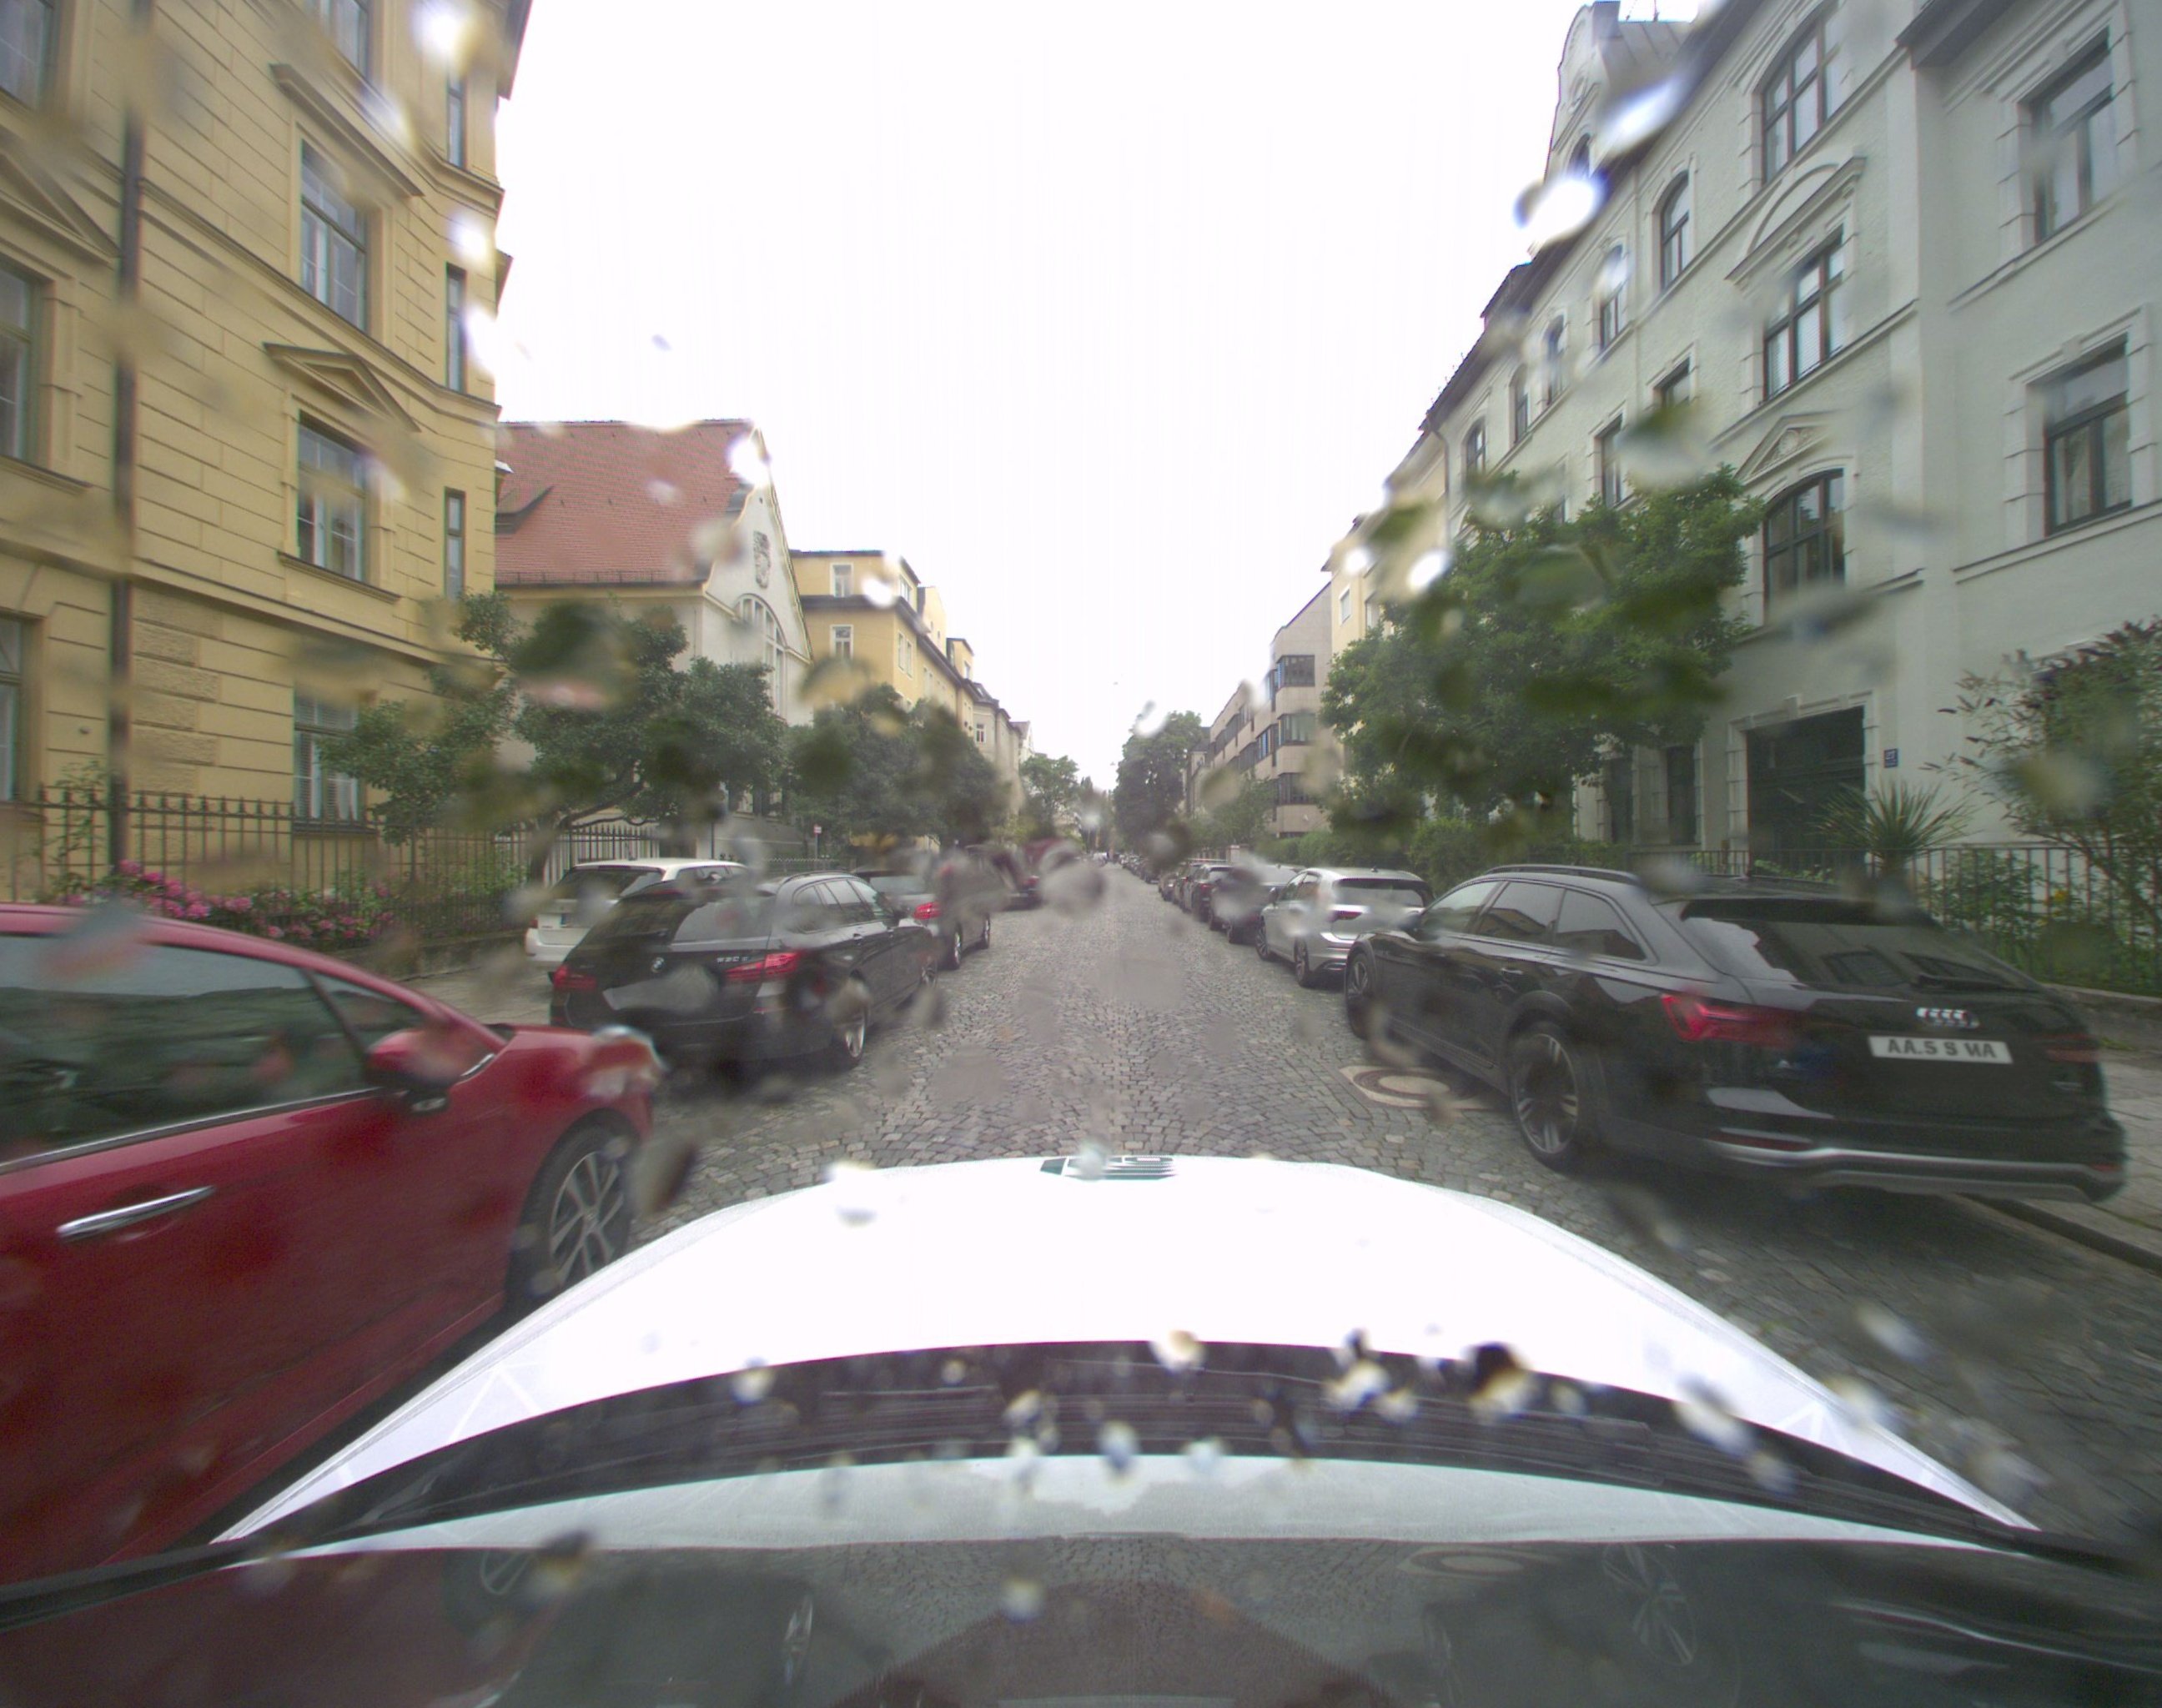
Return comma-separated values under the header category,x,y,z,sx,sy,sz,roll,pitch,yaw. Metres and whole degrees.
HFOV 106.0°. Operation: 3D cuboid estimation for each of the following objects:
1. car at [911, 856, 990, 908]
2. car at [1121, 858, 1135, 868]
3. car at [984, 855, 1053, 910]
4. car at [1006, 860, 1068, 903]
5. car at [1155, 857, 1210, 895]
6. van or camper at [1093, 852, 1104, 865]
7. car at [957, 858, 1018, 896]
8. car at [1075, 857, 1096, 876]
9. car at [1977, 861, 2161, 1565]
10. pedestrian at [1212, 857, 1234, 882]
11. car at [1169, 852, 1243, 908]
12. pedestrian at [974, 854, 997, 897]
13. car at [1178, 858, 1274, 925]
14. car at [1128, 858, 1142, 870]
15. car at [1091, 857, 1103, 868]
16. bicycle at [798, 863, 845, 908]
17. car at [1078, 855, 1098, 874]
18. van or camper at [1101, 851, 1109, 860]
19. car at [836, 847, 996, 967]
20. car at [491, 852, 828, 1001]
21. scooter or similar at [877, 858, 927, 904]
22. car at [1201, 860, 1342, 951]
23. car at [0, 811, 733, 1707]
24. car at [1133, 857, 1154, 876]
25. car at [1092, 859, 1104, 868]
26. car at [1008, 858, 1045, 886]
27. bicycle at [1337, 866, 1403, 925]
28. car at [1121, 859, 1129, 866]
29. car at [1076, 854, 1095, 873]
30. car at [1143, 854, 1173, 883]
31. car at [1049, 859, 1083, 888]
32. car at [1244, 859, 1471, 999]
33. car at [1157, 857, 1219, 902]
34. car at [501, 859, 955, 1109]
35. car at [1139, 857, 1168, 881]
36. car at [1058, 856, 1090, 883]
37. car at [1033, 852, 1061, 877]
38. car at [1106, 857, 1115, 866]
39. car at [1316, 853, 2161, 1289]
category,x,y,z,sx,sy,sz,roll,pitch,yaw
car,-4.193,0.855,26.792,1.733,1.536,4.468,1,-1,1
car,7.408,1.407,128.593,1.867,1.503,4.511,2,0,0
car,-1.954,0.878,26.677,1.733,1.603,4.538,-2,-1,1
car,-1.634,1.017,31.837,1.807,1.455,4.916,-3,-1,3
car,4.521,0.955,36.951,1.986,1.552,5.017,2,0,2
van or camper,3.612,0.910,169.508,1.985,2.652,4.003,-3,-1,3
car,-3.818,0.914,33.946,1.768,1.417,4.565,1,0,3
car,0.423,1.223,80.374,1.859,1.735,4.402,-3,0,0
car,3.129,0.791,0.269,1.661,1.508,3.687,2,0,2
pedestrian,8.986,0.968,51.583,1.211,1.493,1.131,-3,-1,4
car,4.007,0.801,26.797,1.886,1.654,4.295,1,0,2
pedestrian,-3.685,0.838,31.573,0.762,1.650,0.583,0,-1,3
car,3.697,0.901,21.596,1.811,1.488,5.053,3,0,3
car,7.336,1.311,110.877,1.829,1.490,4.425,2,0,3
car,2.661,1.417,136.920,1.867,1.580,4.255,-3,0,0
bicycle,-7.532,0.884,23.717,0.603,1.259,2.061,0,-1,2
car,0.811,1.199,91.939,1.986,1.917,5.178,-4,-1,1
van or camper,7.425,0.440,254.174,2.247,2.742,5.100,1,0,2
car,-2.458,0.738,13.132,1.734,1.586,4.190,-1,-1,-1
car,-4.919,0.749,10.383,1.834,1.466,4.391,1,-1,2
scooter or similar,-6.185,0.893,28.299,1.058,1.523,2.636,0,0,2
car,3.642,0.908,16.458,1.875,1.488,4.817,2,0,3
car,-2.595,0.752,1.720,1.835,1.586,4.192,-1,-1,1
car,5.961,1.199,78.089,1.865,1.735,4.896,2,0,4
car,3.270,1.797,154.587,1.864,1.580,4.214,2,0,5
car,-3.254,1.049,49.144,1.708,1.497,4.723,2,0,2
bicycle,6.246,0.870,17.665,0.580,1.195,1.641,1,-1,-12
car,10.258,2.033,190.258,1.783,1.520,4.003,0,0,3
car,0.479,0.996,85.511,1.866,1.917,4.828,-2,0,1
car,5.002,0.918,53.136,1.613,1.751,3.887,3,0,1
car,-0.816,1.090,47.555,1.707,1.562,4.392,-2,-1,2
car,3.493,0.842,11.207,1.748,1.460,4.483,2,0,3
car,4.061,0.921,31.701,1.985,1.552,4.989,2,0,3
car,-2.540,0.812,7.507,1.863,1.470,5.134,-1,-1,1
car,5.443,1.097,61.601,1.853,1.702,4.815,3,0,2
car,-0.501,1.132,60.927,1.998,1.809,5.178,-2,-1,3
car,-2.736,0.857,66.662,1.987,1.931,5.331,1,0,1
car,6.633,1.679,182.319,1.986,1.728,4.001,-1,-1,1
car,3.200,0.812,5.543,1.897,1.503,5.108,2,0,3
